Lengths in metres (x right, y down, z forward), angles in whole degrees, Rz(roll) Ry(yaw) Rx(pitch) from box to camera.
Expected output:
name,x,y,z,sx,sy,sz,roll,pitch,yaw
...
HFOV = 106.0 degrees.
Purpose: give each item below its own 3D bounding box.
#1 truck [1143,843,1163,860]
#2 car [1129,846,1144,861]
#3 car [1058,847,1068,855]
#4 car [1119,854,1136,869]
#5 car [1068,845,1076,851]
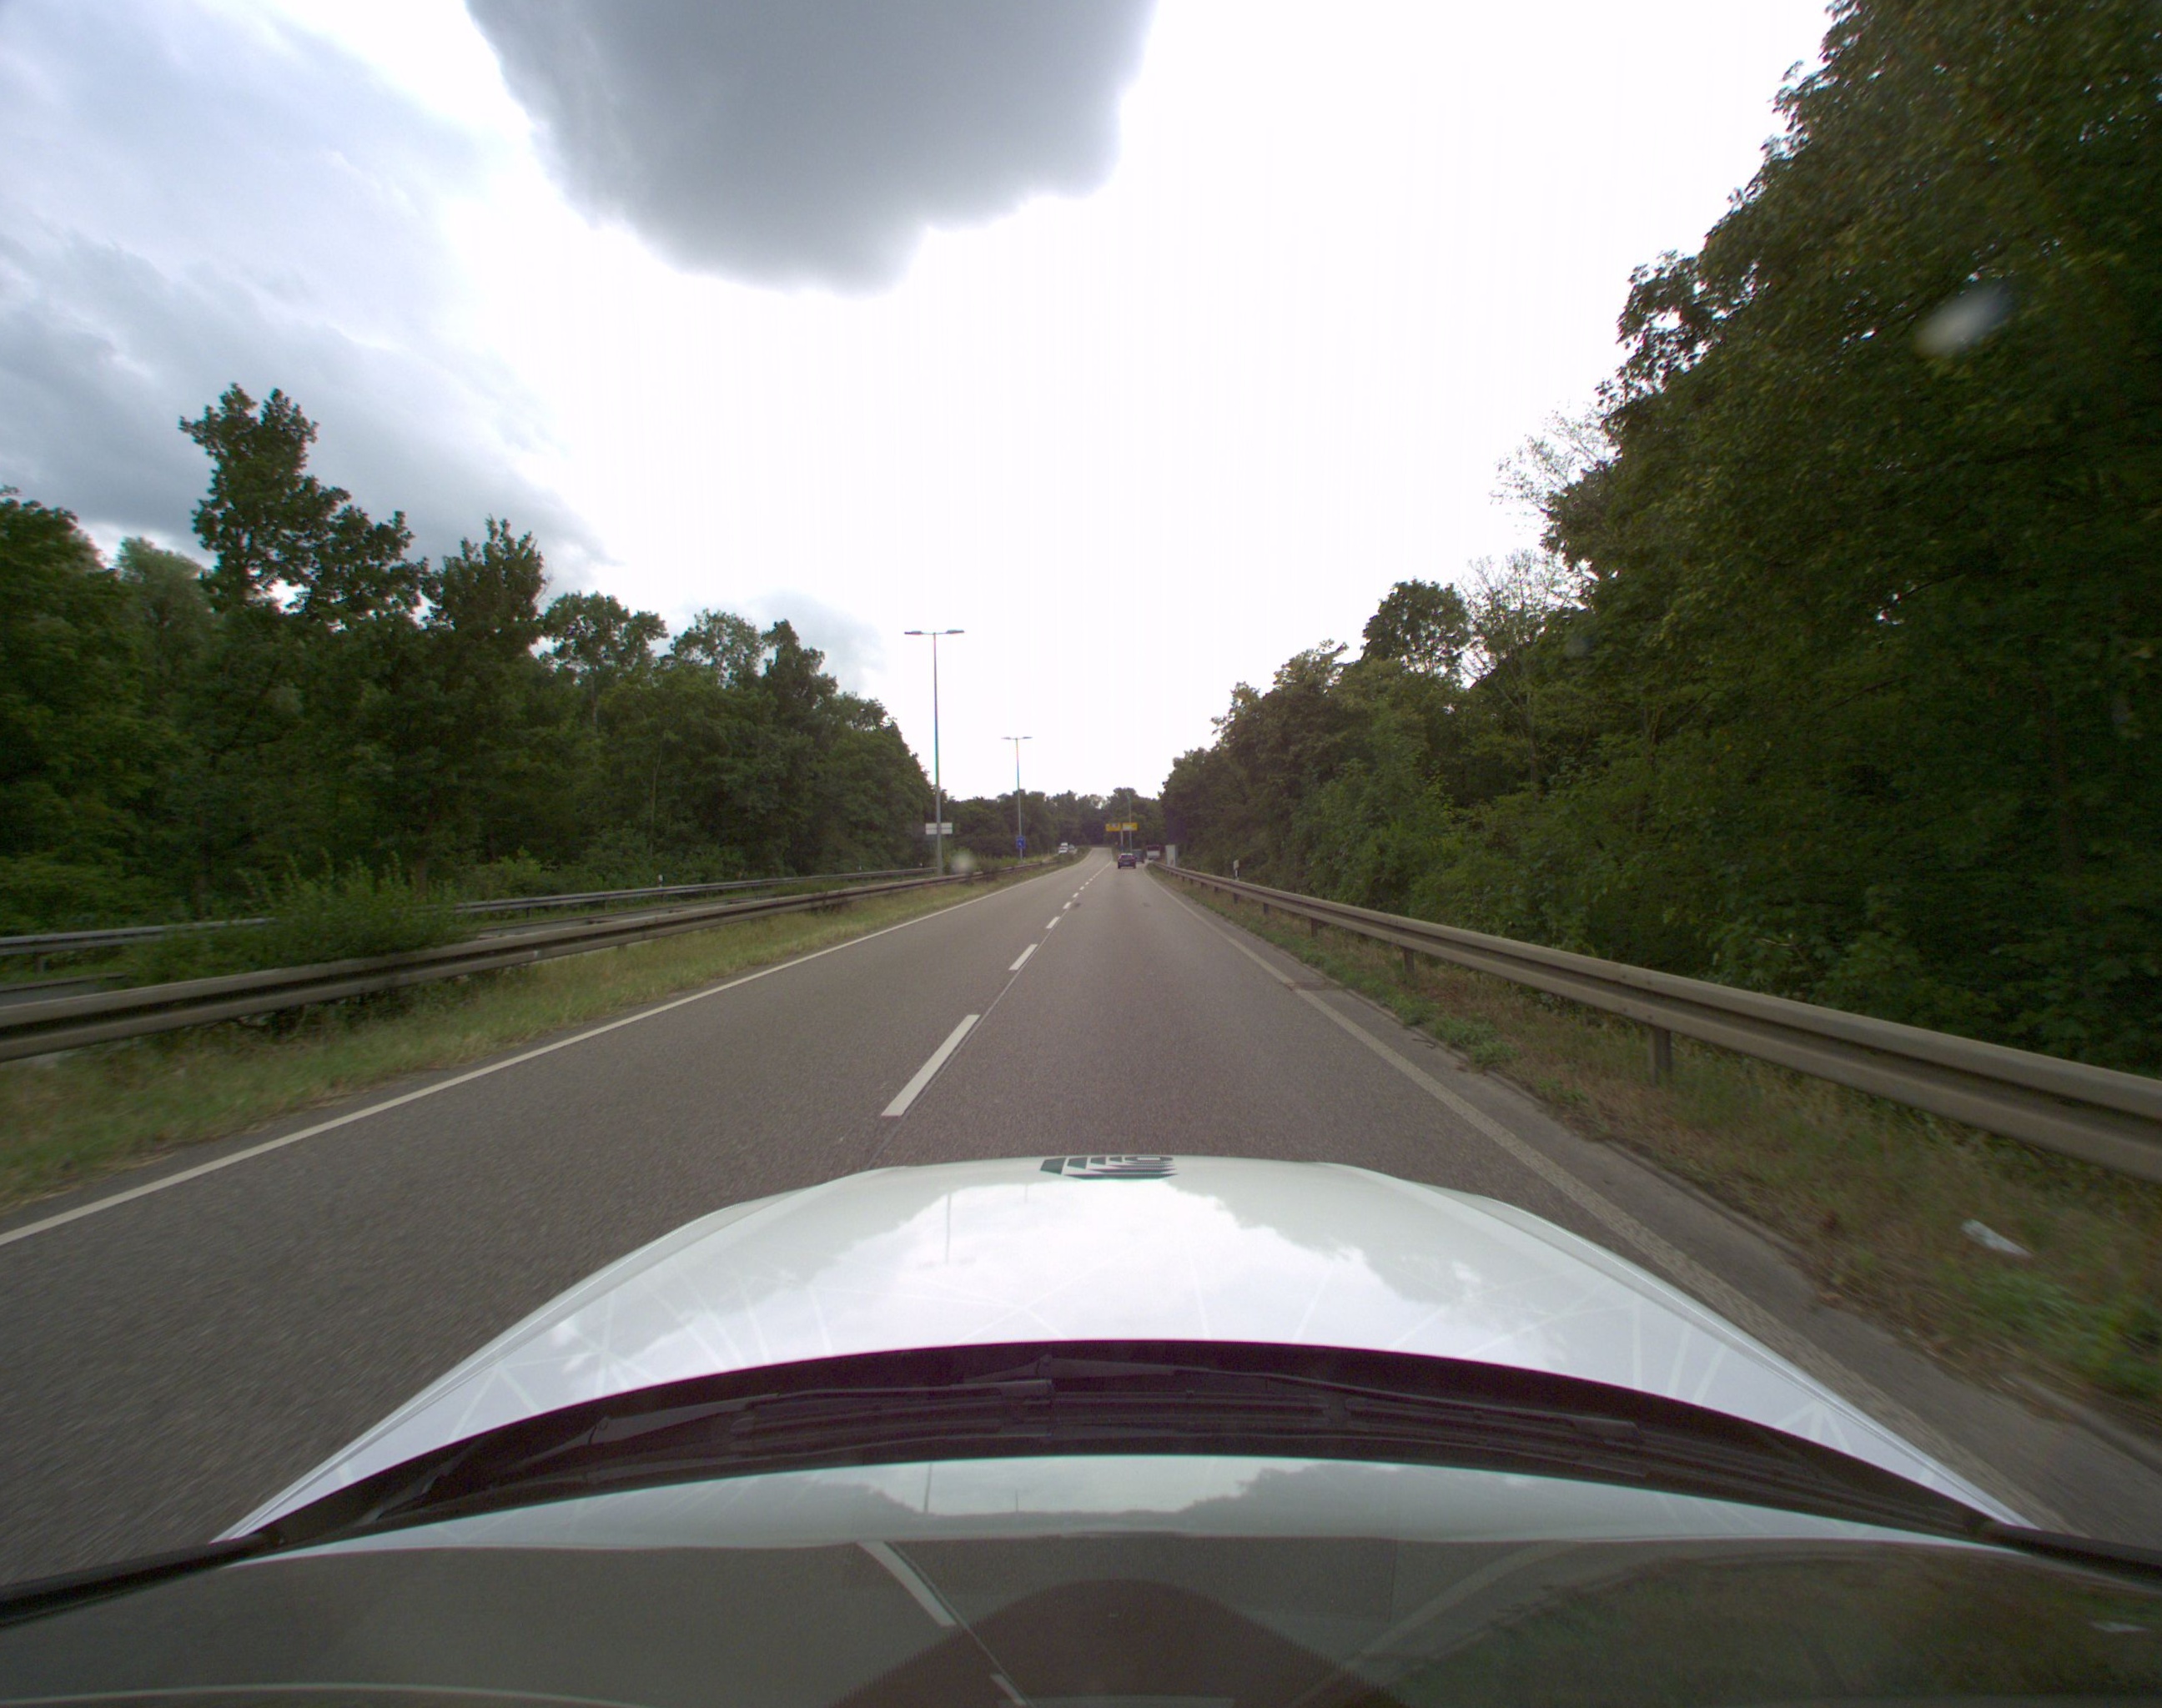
name,x,y,z,sx,sy,sz,roll,pitch,yaw
truck,13.812,-0.451,155.752,2.963,2.885,8.011,-2,-1,9
car,8.058,-0.044,118.216,2.139,2.014,4.003,-2,-1,3
car,-4.130,-0.661,187.670,1.985,1.847,4.004,-2,1,3
car,4.669,0.752,81.122,1.618,1.377,4.003,-2,-1,3
car,-2.753,-1.912,254.734,1.985,2.013,4.004,-2,1,3
